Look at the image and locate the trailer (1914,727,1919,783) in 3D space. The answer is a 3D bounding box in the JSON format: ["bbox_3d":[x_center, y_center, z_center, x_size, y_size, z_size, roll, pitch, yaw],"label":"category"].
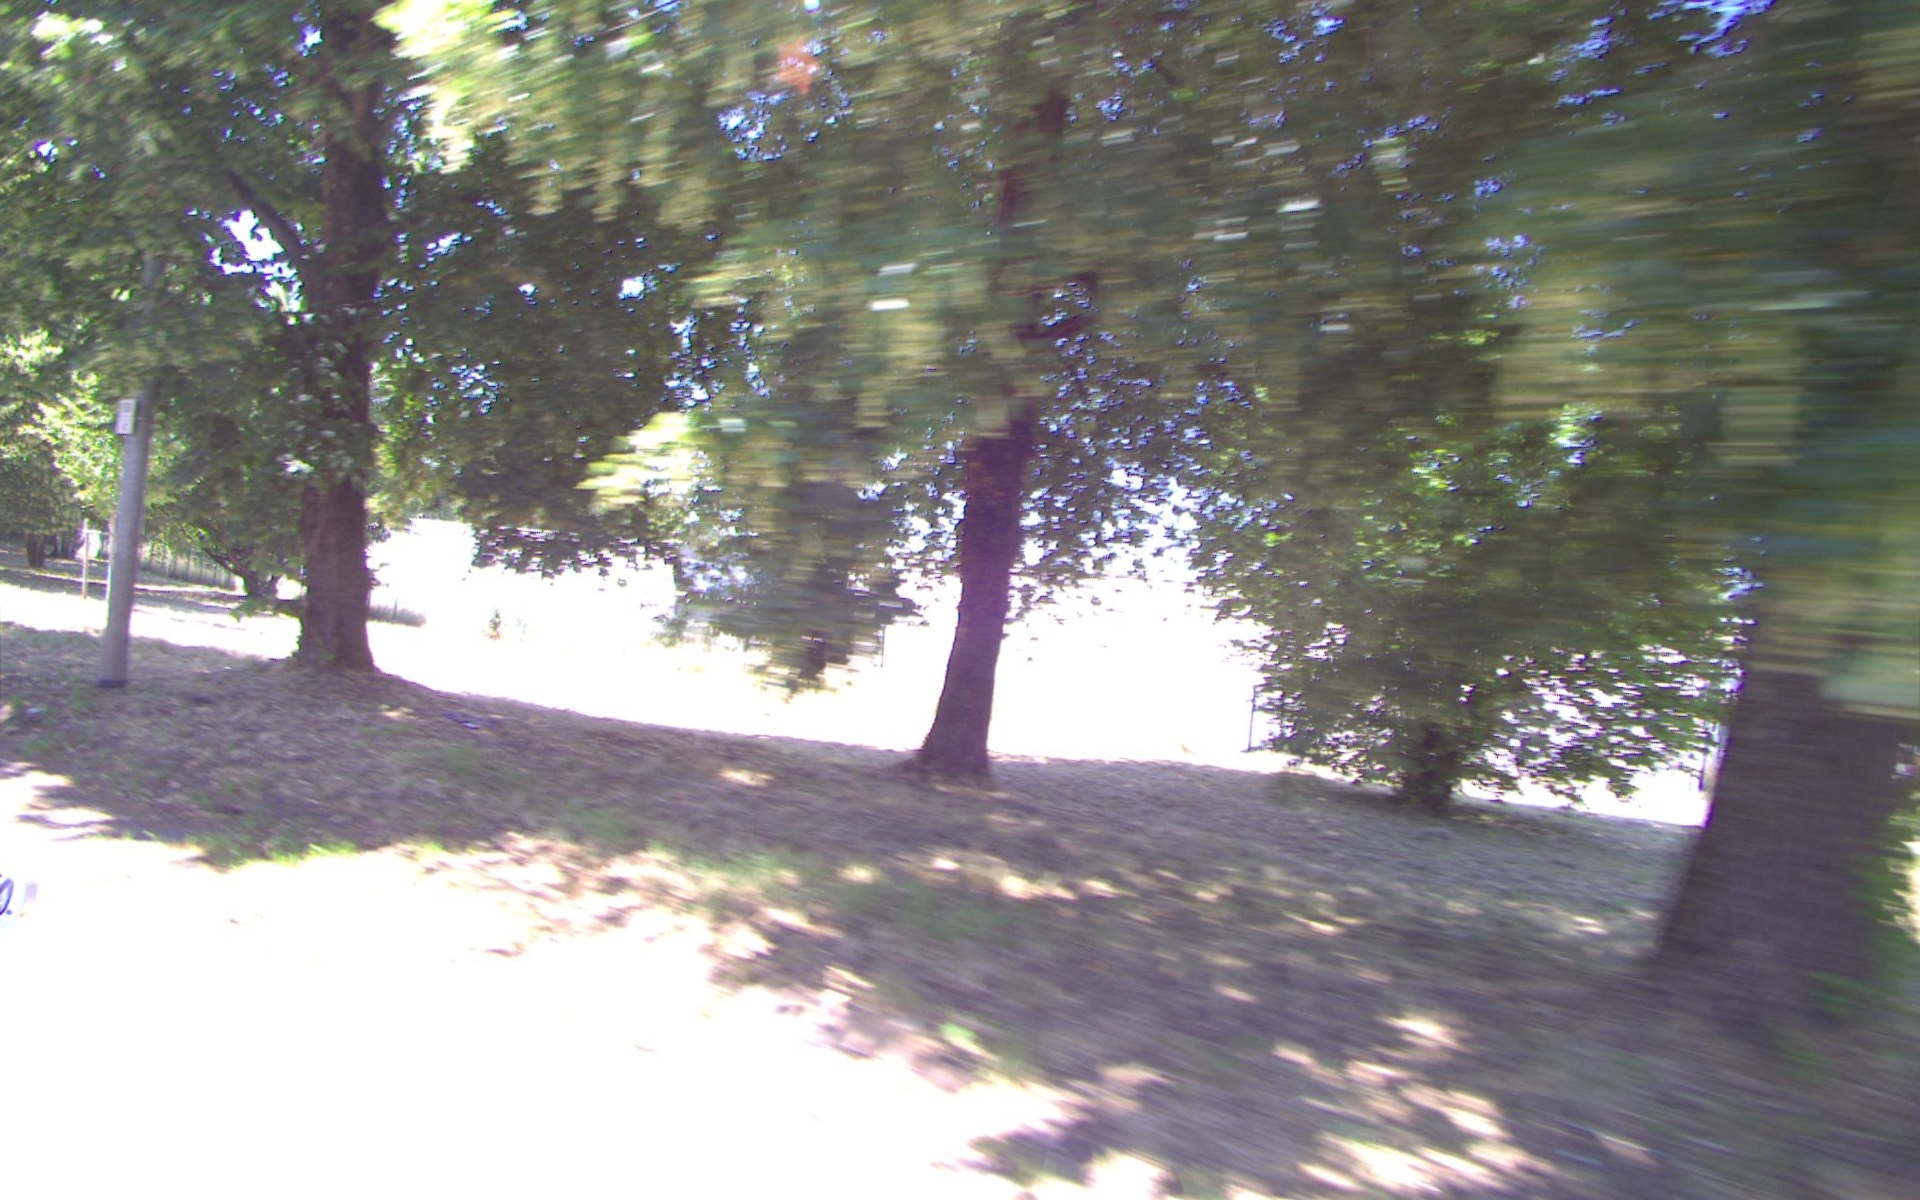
[{"bbox_3d":[53.241,8.347,52.350,2.430,3.356,8.499,6,-2,26],"label":"trailer"}]
